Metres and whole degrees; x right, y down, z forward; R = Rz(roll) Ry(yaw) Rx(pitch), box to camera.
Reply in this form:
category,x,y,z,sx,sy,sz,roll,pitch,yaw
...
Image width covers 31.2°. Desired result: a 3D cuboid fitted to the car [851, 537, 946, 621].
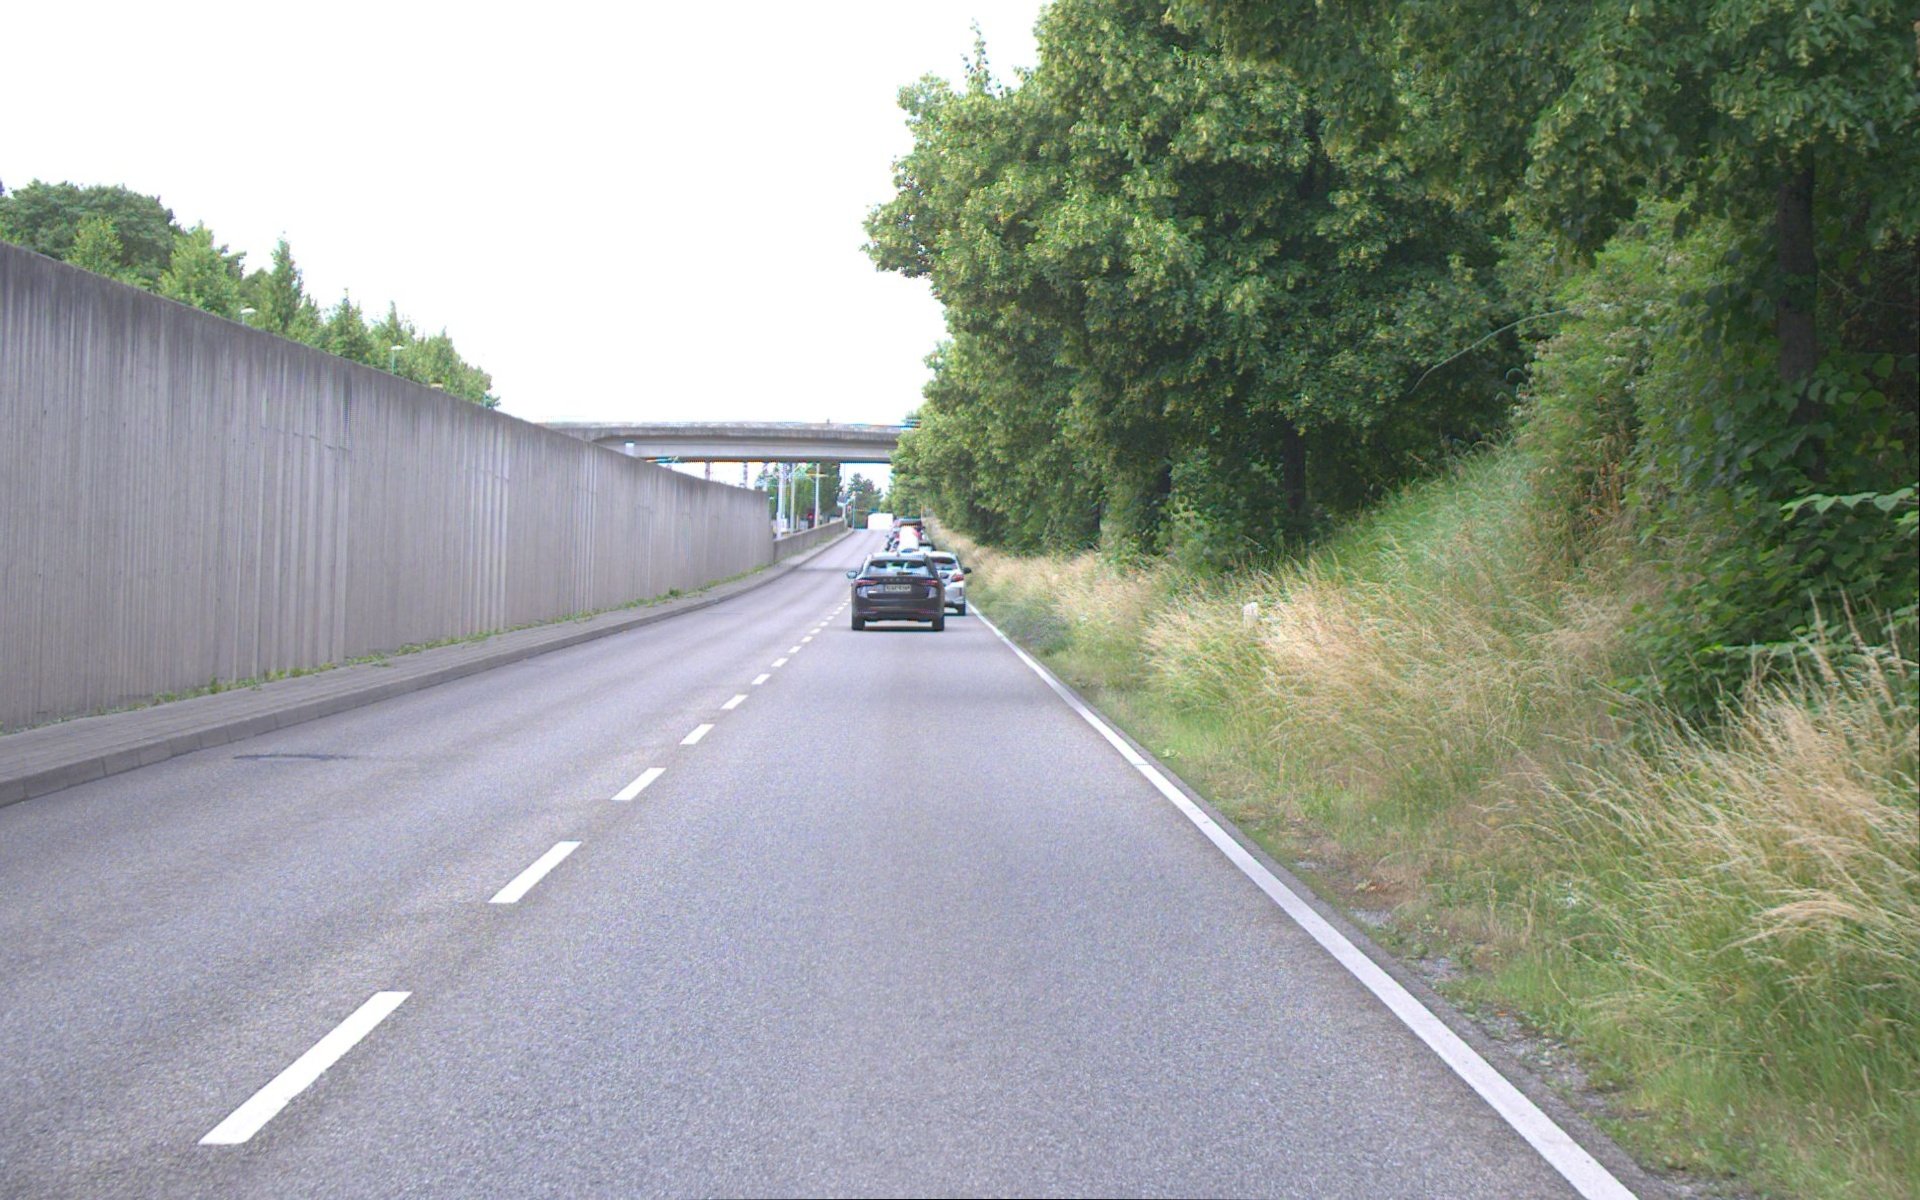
category,x,y,z,sx,sy,sz,roll,pitch,yaw
car,-1.176,-0.381,65.679,1.754,1.518,4.036,0,-1,-1

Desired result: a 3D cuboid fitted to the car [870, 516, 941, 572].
category,x,y,z,sx,sy,sz,roll,pitch,yaw
car,-1.615,-1.616,99.945,1.866,1.485,4.257,4,1,-2

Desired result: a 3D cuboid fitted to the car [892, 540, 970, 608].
category,x,y,z,sx,sy,sz,roll,pitch,yaw
car,-0.698,-0.598,81.095,1.754,1.518,4.036,-1,0,-1
